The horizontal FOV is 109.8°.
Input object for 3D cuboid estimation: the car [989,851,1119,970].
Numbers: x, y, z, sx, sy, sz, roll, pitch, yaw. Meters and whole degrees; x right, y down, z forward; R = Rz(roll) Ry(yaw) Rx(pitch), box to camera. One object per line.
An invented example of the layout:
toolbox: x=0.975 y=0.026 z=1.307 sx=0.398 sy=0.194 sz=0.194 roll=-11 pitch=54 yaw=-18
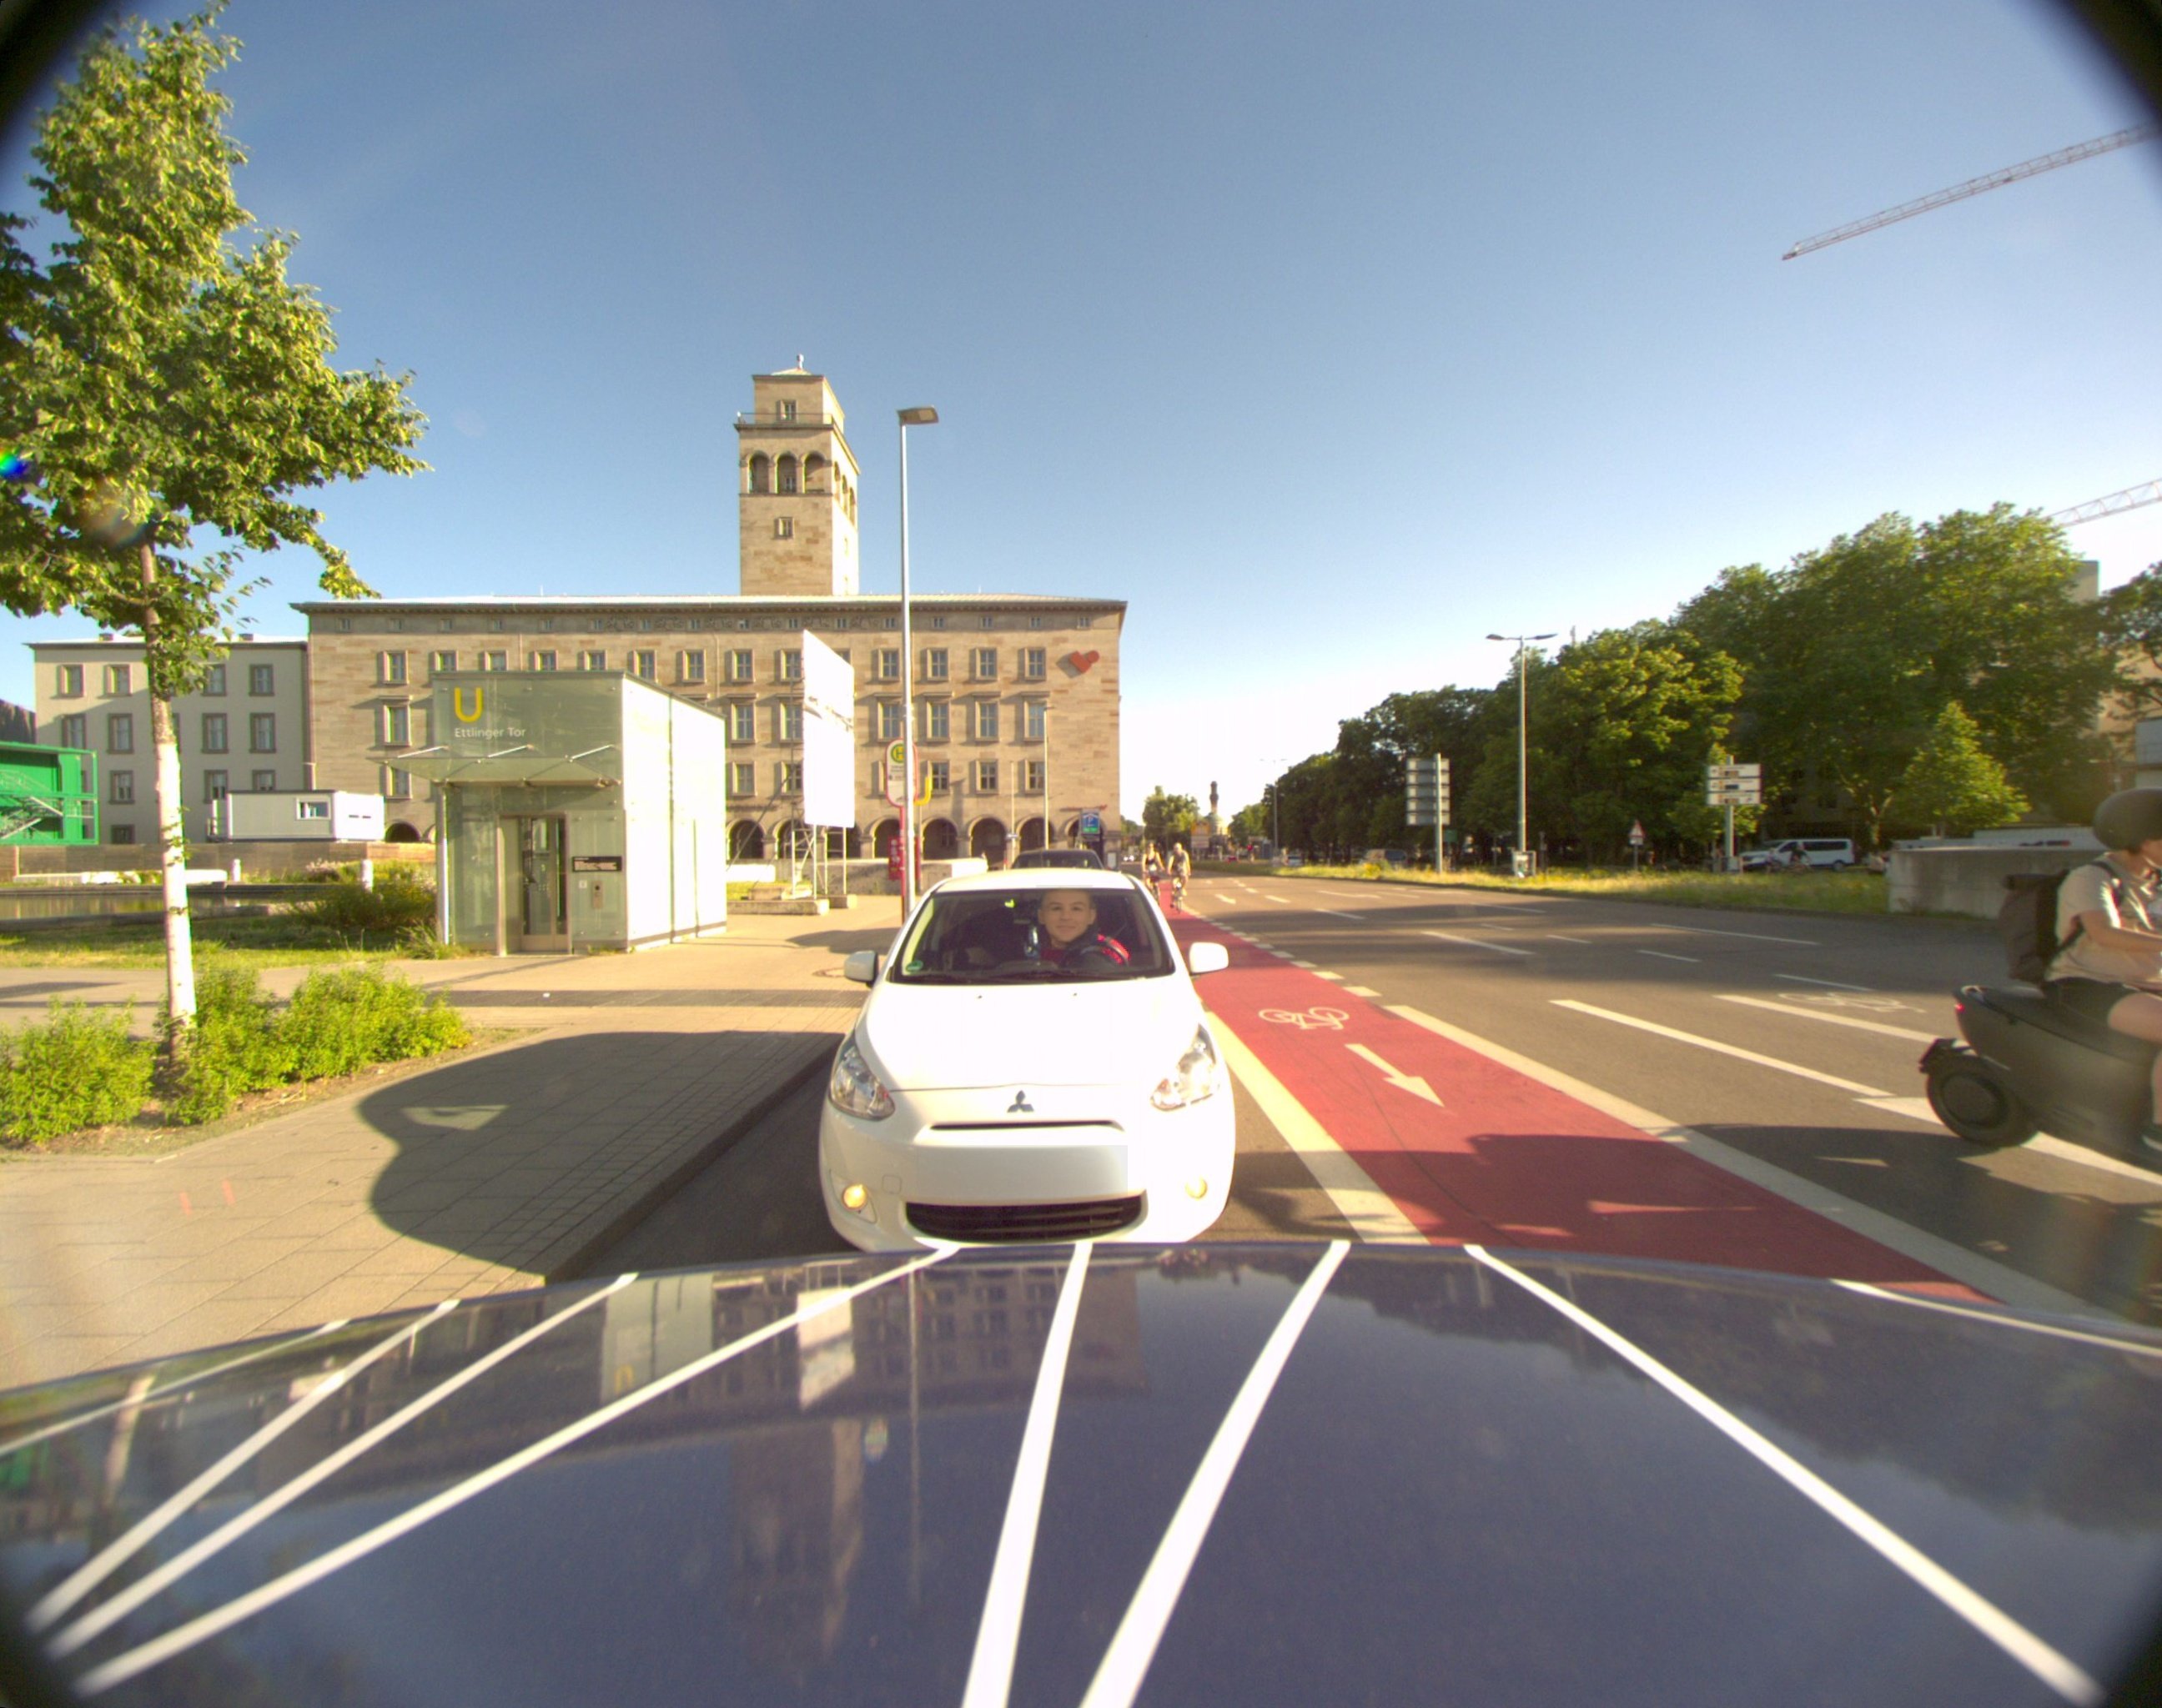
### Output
car: x=-0.357 y=0.794 z=12.775 sx=1.833 sy=1.660 sz=4.000 roll=-1 pitch=0 yaw=1

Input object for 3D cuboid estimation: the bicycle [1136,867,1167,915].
bicycle: x=1.881 y=0.962 z=20.341 sx=0.689 sy=1.185 sz=1.506 roll=-1 pitch=1 yaw=1

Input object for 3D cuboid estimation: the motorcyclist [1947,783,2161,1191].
motorcyclist: x=4.268 y=0.470 z=2.943 sx=0.824 sy=1.455 sz=0.877 roll=-1 pitch=1 yaw=1

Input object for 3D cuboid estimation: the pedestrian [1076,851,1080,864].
pedestrian: x=-0.479 y=0.534 z=114.573 sx=0.612 sy=2.002 sz=0.727 roll=-2 pitch=1 yaw=0

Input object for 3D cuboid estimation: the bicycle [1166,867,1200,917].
bicycle: x=2.593 y=0.944 z=19.477 sx=0.689 sy=1.185 sz=1.506 roll=-1 pitch=1 yaw=1

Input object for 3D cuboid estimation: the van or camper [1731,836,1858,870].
van or camper: x=42.231 y=-0.050 z=45.059 sx=5.499 sy=1.934 sz=1.951 roll=-1 pitch=0 yaw=4

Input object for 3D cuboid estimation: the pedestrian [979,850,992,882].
pedestrian: x=-5.208 y=0.646 z=41.381 sx=0.595 sy=1.700 sz=0.583 roll=-1 pitch=1 yaw=1

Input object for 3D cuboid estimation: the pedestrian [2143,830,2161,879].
pedestrian: x=35.362 y=0.012 z=24.791 sx=0.588 sy=1.593 sz=0.598 roll=-2 pitch=1 yaw=-2

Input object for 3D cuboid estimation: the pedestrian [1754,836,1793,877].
pedestrian: x=33.606 y=0.122 z=36.890 sx=1.126 sy=1.952 sz=0.815 roll=-2 pitch=1 yaw=1

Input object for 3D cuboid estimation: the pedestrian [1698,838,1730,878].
pedestrian: x=32.676 y=0.195 z=39.240 sx=0.957 sy=2.002 sz=0.839 roll=-2 pitch=1 yaw=-9

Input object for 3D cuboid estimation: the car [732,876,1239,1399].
car: x=-0.261 y=0.924 z=4.303 sx=1.519 sy=1.447 sz=4.000 roll=-1 pitch=0 yaw=1

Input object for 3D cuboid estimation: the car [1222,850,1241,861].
car: x=21.141 y=0.150 z=106.584 sx=1.881 sy=1.472 sz=3.980 roll=-1 pitch=0 yaw=1

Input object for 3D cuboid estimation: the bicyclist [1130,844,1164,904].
bicyclist: x=1.769 y=0.523 z=20.398 sx=0.824 sy=1.568 sz=0.877 roll=-1 pitch=1 yaw=1

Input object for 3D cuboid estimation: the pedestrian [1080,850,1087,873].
pedestrian: x=0.181 y=0.584 z=57.205 sx=0.552 sy=1.692 sz=0.553 roll=-1 pitch=1 yaw=-1

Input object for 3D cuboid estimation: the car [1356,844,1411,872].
car: x=21.746 y=0.294 z=54.875 sx=1.887 sy=1.911 sz=4.930 roll=-1 pitch=0 yaw=-2

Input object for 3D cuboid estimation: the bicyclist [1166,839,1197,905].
bicyclist: x=2.570 y=0.462 z=19.509 sx=0.674 sy=1.649 sz=0.877 roll=-1 pitch=1 yaw=1

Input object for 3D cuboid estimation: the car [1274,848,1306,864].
car: x=18.213 y=0.154 z=66.402 sx=1.728 sy=1.369 sz=3.943 roll=-1 pitch=0 yaw=1

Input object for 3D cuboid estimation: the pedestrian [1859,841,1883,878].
pedestrian: x=32.445 y=0.211 z=31.205 sx=0.499 sy=1.502 sz=0.494 roll=-1 pitch=1 yaw=1

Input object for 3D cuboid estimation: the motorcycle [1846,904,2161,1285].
motorcycle: x=4.267 y=0.896 z=2.860 sx=0.828 sy=1.273 sz=1.944 roll=-1 pitch=0 yaw=1
